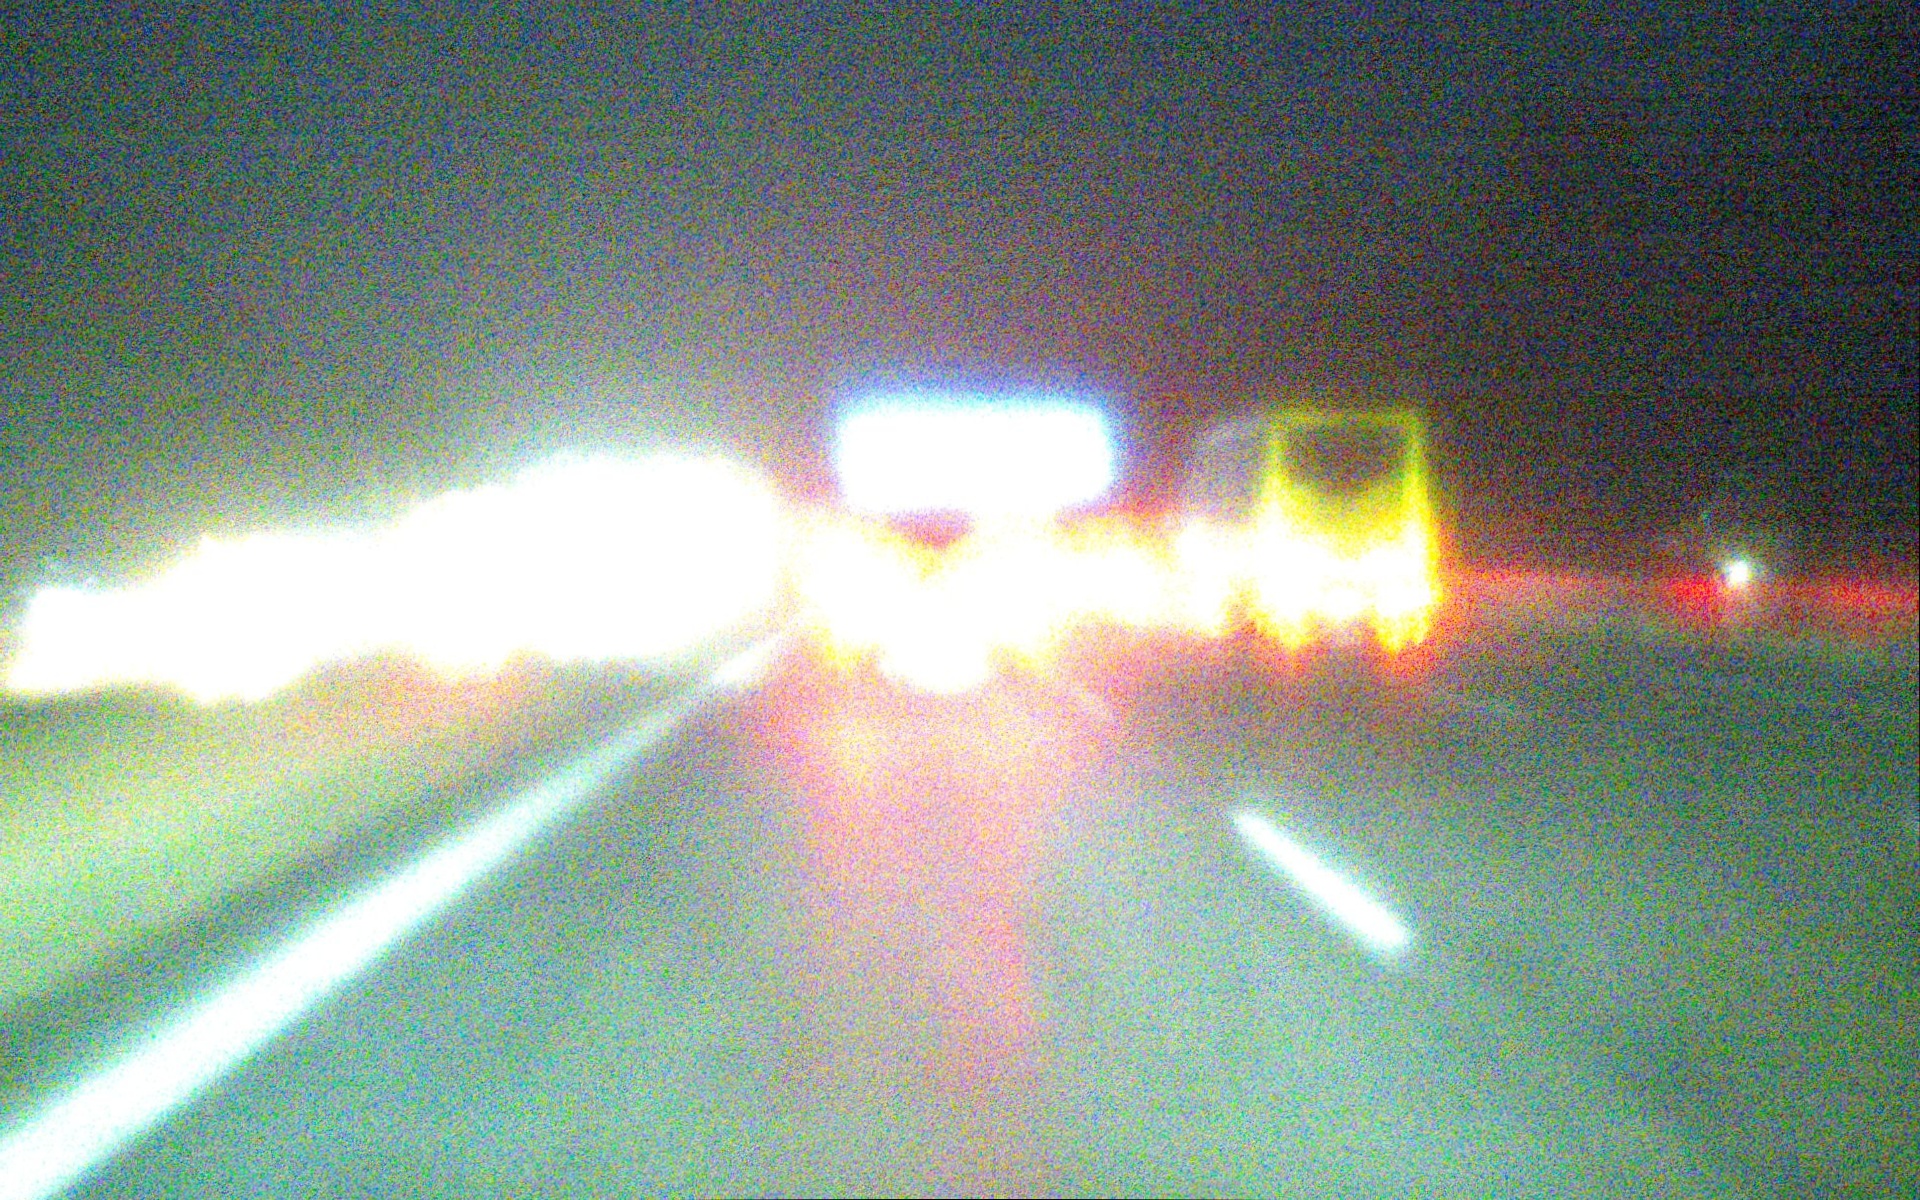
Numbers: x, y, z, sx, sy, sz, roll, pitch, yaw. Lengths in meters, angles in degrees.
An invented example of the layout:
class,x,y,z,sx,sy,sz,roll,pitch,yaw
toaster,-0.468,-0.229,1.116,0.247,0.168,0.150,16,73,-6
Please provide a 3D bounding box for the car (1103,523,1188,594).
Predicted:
class,x,y,z,sx,sy,sz,roll,pitch,yaw
car,5.505,-1.236,102.435,1.993,2.007,4.001,-2,1,-4

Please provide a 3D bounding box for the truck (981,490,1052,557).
class,x,y,z,sx,sy,sz,roll,pitch,yaw
truck,2.877,-3.929,179.319,3.037,3.286,11.382,-2,1,-2

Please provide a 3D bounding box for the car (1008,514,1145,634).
class,x,y,z,sx,sy,sz,roll,pitch,yaw
car,2.044,-0.475,61.626,1.993,2.007,4.001,-2,1,-4

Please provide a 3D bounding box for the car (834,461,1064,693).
class,x,y,z,sx,sy,sz,roll,pitch,yaw
car,-0.165,-0.222,32.027,1.993,2.007,4.000,1,1,-2

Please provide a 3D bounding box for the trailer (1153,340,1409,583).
class,x,y,z,sx,sy,sz,roll,pitch,yaw
trailer,5.922,-2.479,66.177,3.041,4.094,13.830,-2,1,-2

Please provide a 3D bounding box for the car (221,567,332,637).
class,x,y,z,sx,sy,sz,roll,pitch,yaw
car,-17.478,0.033,88.076,1.916,1.678,4.506,-2,0,0
